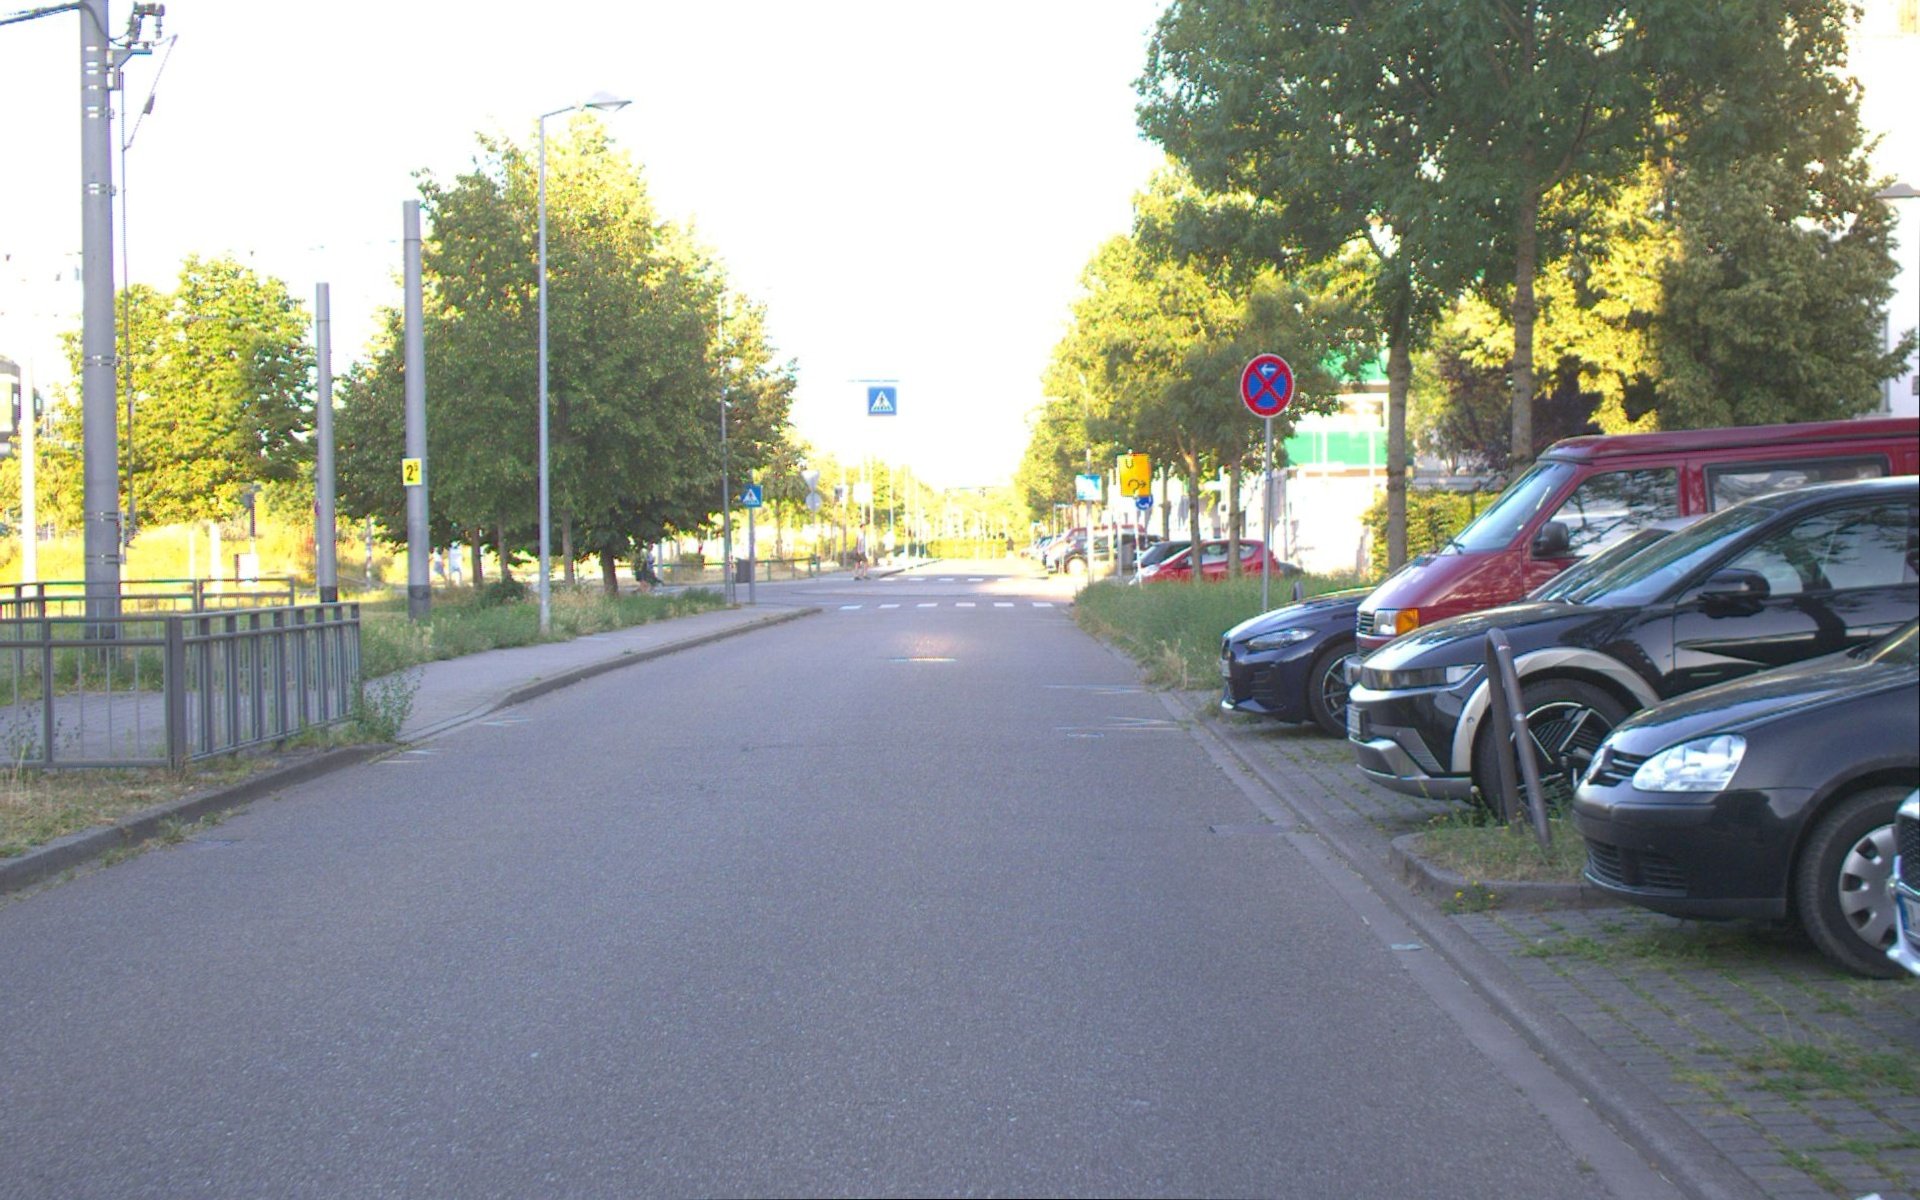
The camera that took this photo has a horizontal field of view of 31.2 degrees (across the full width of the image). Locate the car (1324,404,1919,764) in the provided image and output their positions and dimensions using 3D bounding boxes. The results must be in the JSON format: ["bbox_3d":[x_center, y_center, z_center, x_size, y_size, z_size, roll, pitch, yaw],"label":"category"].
[{"bbox_3d":[4.841,-0.124,21.618,4.920,2.110,2.017,-1,1,2],"label":"car"}]

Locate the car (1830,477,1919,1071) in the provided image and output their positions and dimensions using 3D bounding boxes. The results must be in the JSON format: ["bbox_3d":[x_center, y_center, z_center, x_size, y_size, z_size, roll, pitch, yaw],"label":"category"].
[{"bbox_3d":[4.455,0.432,9.120,3.877,1.563,1.620,-1,1,1],"label":"car"}]

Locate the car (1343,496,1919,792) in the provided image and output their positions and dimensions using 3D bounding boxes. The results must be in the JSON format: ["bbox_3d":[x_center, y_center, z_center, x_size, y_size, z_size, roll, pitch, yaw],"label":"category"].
[{"bbox_3d":[4.033,0.213,19.376,3.525,1.460,1.615,-3,1,1],"label":"car"}]

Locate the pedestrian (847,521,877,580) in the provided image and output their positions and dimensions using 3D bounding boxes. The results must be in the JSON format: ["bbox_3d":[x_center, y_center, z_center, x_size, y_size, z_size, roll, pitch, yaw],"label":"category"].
[{"bbox_3d":[-3.314,-1.678,116.457,0.846,2.007,0.943,-1,1,6],"label":"pedestrian"}]

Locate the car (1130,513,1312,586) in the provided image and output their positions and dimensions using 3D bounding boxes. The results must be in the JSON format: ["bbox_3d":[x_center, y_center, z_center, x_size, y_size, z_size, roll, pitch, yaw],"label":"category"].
[{"bbox_3d":[5.683,-1.101,75.074,3.802,1.503,1.679,-1,1,-1],"label":"car"}]

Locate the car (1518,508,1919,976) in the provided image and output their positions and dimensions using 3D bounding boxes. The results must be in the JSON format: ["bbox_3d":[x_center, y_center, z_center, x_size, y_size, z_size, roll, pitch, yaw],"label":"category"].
[{"bbox_3d":[3.926,0.423,11.771,3.773,1.490,1.539,-1,1,1],"label":"car"}]

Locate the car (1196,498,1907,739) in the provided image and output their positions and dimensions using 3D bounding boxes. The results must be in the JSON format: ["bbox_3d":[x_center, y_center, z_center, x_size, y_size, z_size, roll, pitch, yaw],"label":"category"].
[{"bbox_3d":[4.048,0.106,24.098,4.669,1.551,1.811,-1,1,1],"label":"car"}]

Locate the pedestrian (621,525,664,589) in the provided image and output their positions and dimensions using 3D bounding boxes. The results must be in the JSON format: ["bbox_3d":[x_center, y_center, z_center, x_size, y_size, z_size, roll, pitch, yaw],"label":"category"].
[{"bbox_3d":[-8.590,-1.160,92.942,1.018,1.687,0.760,-1,1,-13],"label":"pedestrian"}]

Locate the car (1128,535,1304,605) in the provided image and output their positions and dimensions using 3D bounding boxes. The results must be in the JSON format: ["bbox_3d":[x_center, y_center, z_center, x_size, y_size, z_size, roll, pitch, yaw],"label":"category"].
[{"bbox_3d":[5.771,-0.685,77.855,3.802,1.503,1.679,-1,1,-1],"label":"car"}]

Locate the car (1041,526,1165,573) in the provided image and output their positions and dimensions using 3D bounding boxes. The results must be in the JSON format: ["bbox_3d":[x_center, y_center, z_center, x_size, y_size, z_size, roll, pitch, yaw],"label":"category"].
[{"bbox_3d":[5.213,-1.851,125.545,4.485,1.590,2.000,-1,1,2],"label":"car"}]

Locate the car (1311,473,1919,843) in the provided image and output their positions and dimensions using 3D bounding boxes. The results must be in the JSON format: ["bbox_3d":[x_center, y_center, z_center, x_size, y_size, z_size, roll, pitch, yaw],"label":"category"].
[{"bbox_3d":[3.911,0.211,16.535,4.215,1.563,1.792,-3,1,1],"label":"car"}]

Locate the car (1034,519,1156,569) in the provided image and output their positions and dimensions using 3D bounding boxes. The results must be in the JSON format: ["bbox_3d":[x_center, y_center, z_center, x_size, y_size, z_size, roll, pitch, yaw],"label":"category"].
[{"bbox_3d":[5.824,-2.419,148.839,5.002,2.038,2.250,-1,1,-4],"label":"car"}]
